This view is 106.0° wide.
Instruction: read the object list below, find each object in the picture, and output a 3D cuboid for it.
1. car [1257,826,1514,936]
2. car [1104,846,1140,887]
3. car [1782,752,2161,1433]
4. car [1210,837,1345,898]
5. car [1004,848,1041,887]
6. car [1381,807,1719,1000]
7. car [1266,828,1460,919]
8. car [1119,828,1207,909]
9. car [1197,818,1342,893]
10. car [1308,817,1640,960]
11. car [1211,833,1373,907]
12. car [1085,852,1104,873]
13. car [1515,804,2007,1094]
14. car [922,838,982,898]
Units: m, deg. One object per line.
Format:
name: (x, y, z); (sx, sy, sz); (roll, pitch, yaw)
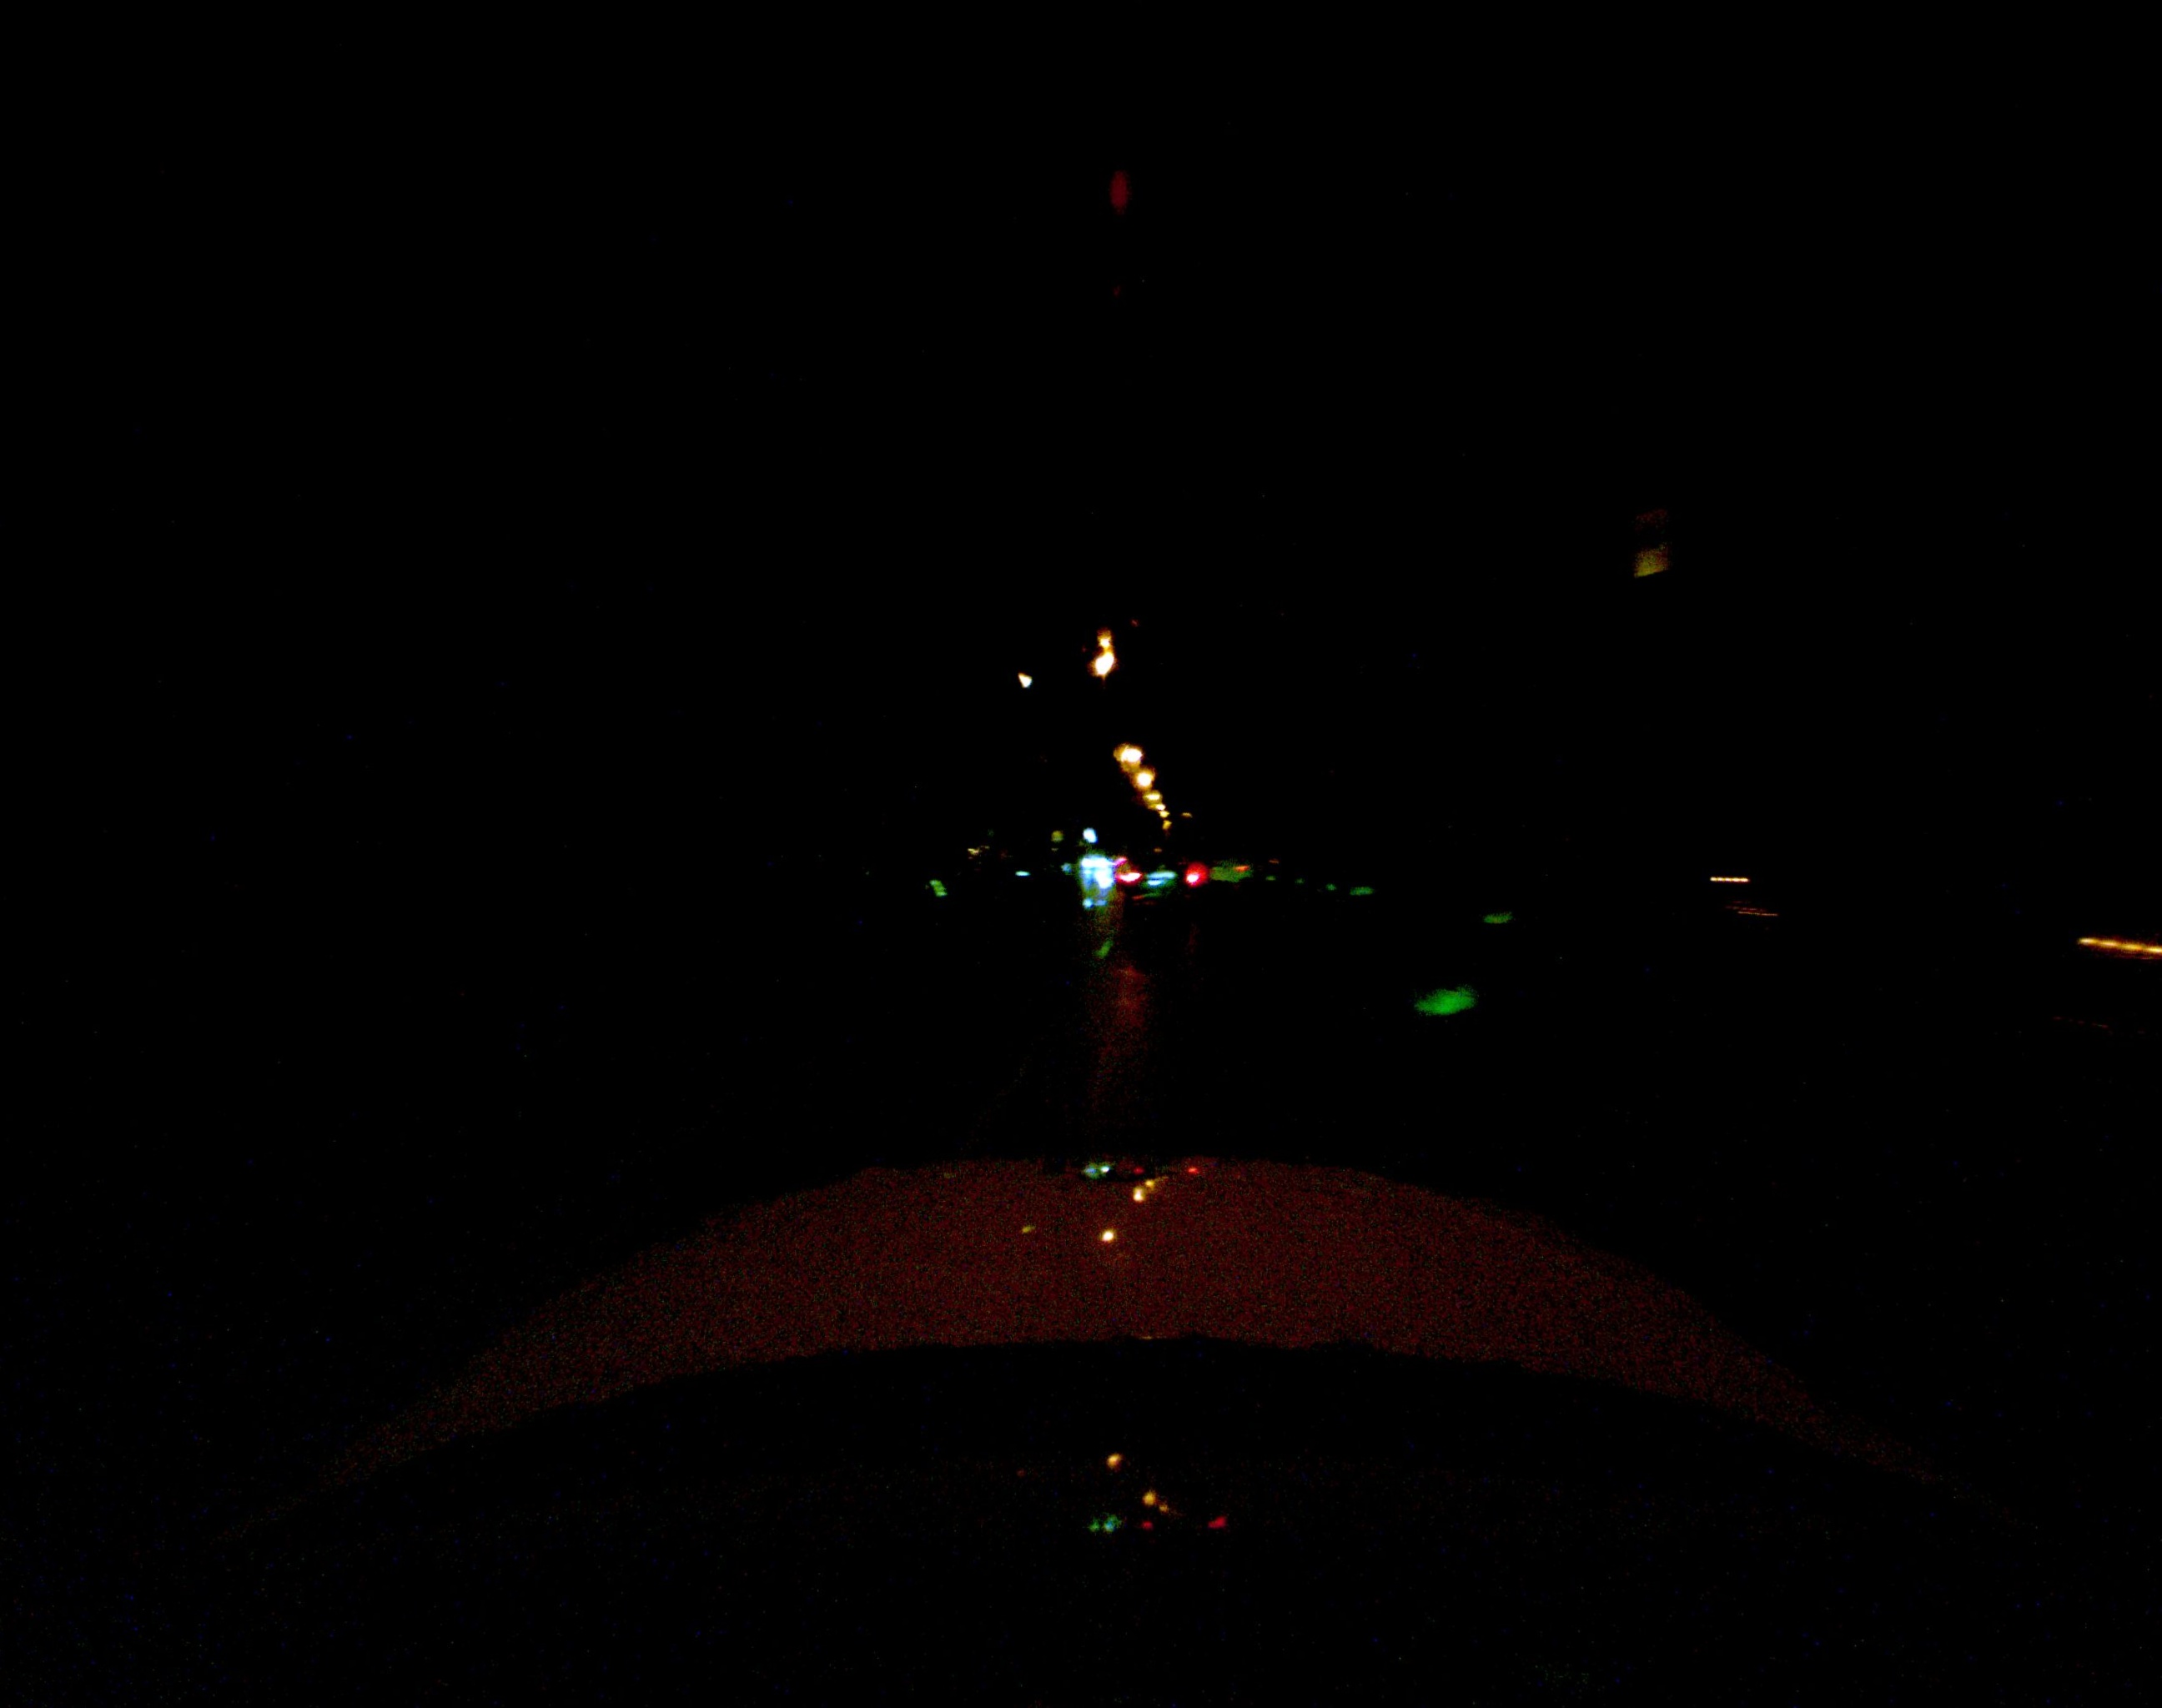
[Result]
car: (5.614, 0.438, 15.149); (4.179, 1.645, 1.761); (-4, 0, -15)
car: (2.134, 0.602, 42.186); (1.717, 1.972, 4.224); (-2, 0, 3)
car: (4.429, 0.437, 2.695); (4.196, 1.590, 1.715); (-4, 0, -27)
car: (6.396, 0.396, 26.417); (4.201, 1.645, 1.752); (-4, 0, -32)
car: (-3.235, 0.700, 44.577); (1.723, 1.972, 3.717); (-2, 0, -8)
car: (5.422, 0.398, 9.219); (4.204, 1.645, 1.644); (-4, 0, -35)
car: (6.315, 0.378, 18.114); (4.201, 1.645, 1.752); (-4, 0, -32)
car: (2.336, 0.373, 22.899); (2.157, 1.972, 4.310); (-2, 0, 6)
car: (6.943, 0.012, 29.836); (5.028, 2.391, 2.118); (-4, 0, -32)
car: (5.663, 0.423, 11.871); (4.179, 1.645, 1.761); (-4, 0, -15)
car: (5.734, 0.382, 21.971); (4.201, 1.645, 1.752); (-4, 0, -32)
car: (1.364, 0.789, 80.096); (1.717, 1.972, 4.224); (-2, 0, 3)
car: (5.328, 0.463, 6.221); (4.201, 1.475, 1.645); (-4, 0, -32)
car: (-4.784, 0.471, 29.779); (1.992, 1.972, 4.285); (-2, 0, -11)
